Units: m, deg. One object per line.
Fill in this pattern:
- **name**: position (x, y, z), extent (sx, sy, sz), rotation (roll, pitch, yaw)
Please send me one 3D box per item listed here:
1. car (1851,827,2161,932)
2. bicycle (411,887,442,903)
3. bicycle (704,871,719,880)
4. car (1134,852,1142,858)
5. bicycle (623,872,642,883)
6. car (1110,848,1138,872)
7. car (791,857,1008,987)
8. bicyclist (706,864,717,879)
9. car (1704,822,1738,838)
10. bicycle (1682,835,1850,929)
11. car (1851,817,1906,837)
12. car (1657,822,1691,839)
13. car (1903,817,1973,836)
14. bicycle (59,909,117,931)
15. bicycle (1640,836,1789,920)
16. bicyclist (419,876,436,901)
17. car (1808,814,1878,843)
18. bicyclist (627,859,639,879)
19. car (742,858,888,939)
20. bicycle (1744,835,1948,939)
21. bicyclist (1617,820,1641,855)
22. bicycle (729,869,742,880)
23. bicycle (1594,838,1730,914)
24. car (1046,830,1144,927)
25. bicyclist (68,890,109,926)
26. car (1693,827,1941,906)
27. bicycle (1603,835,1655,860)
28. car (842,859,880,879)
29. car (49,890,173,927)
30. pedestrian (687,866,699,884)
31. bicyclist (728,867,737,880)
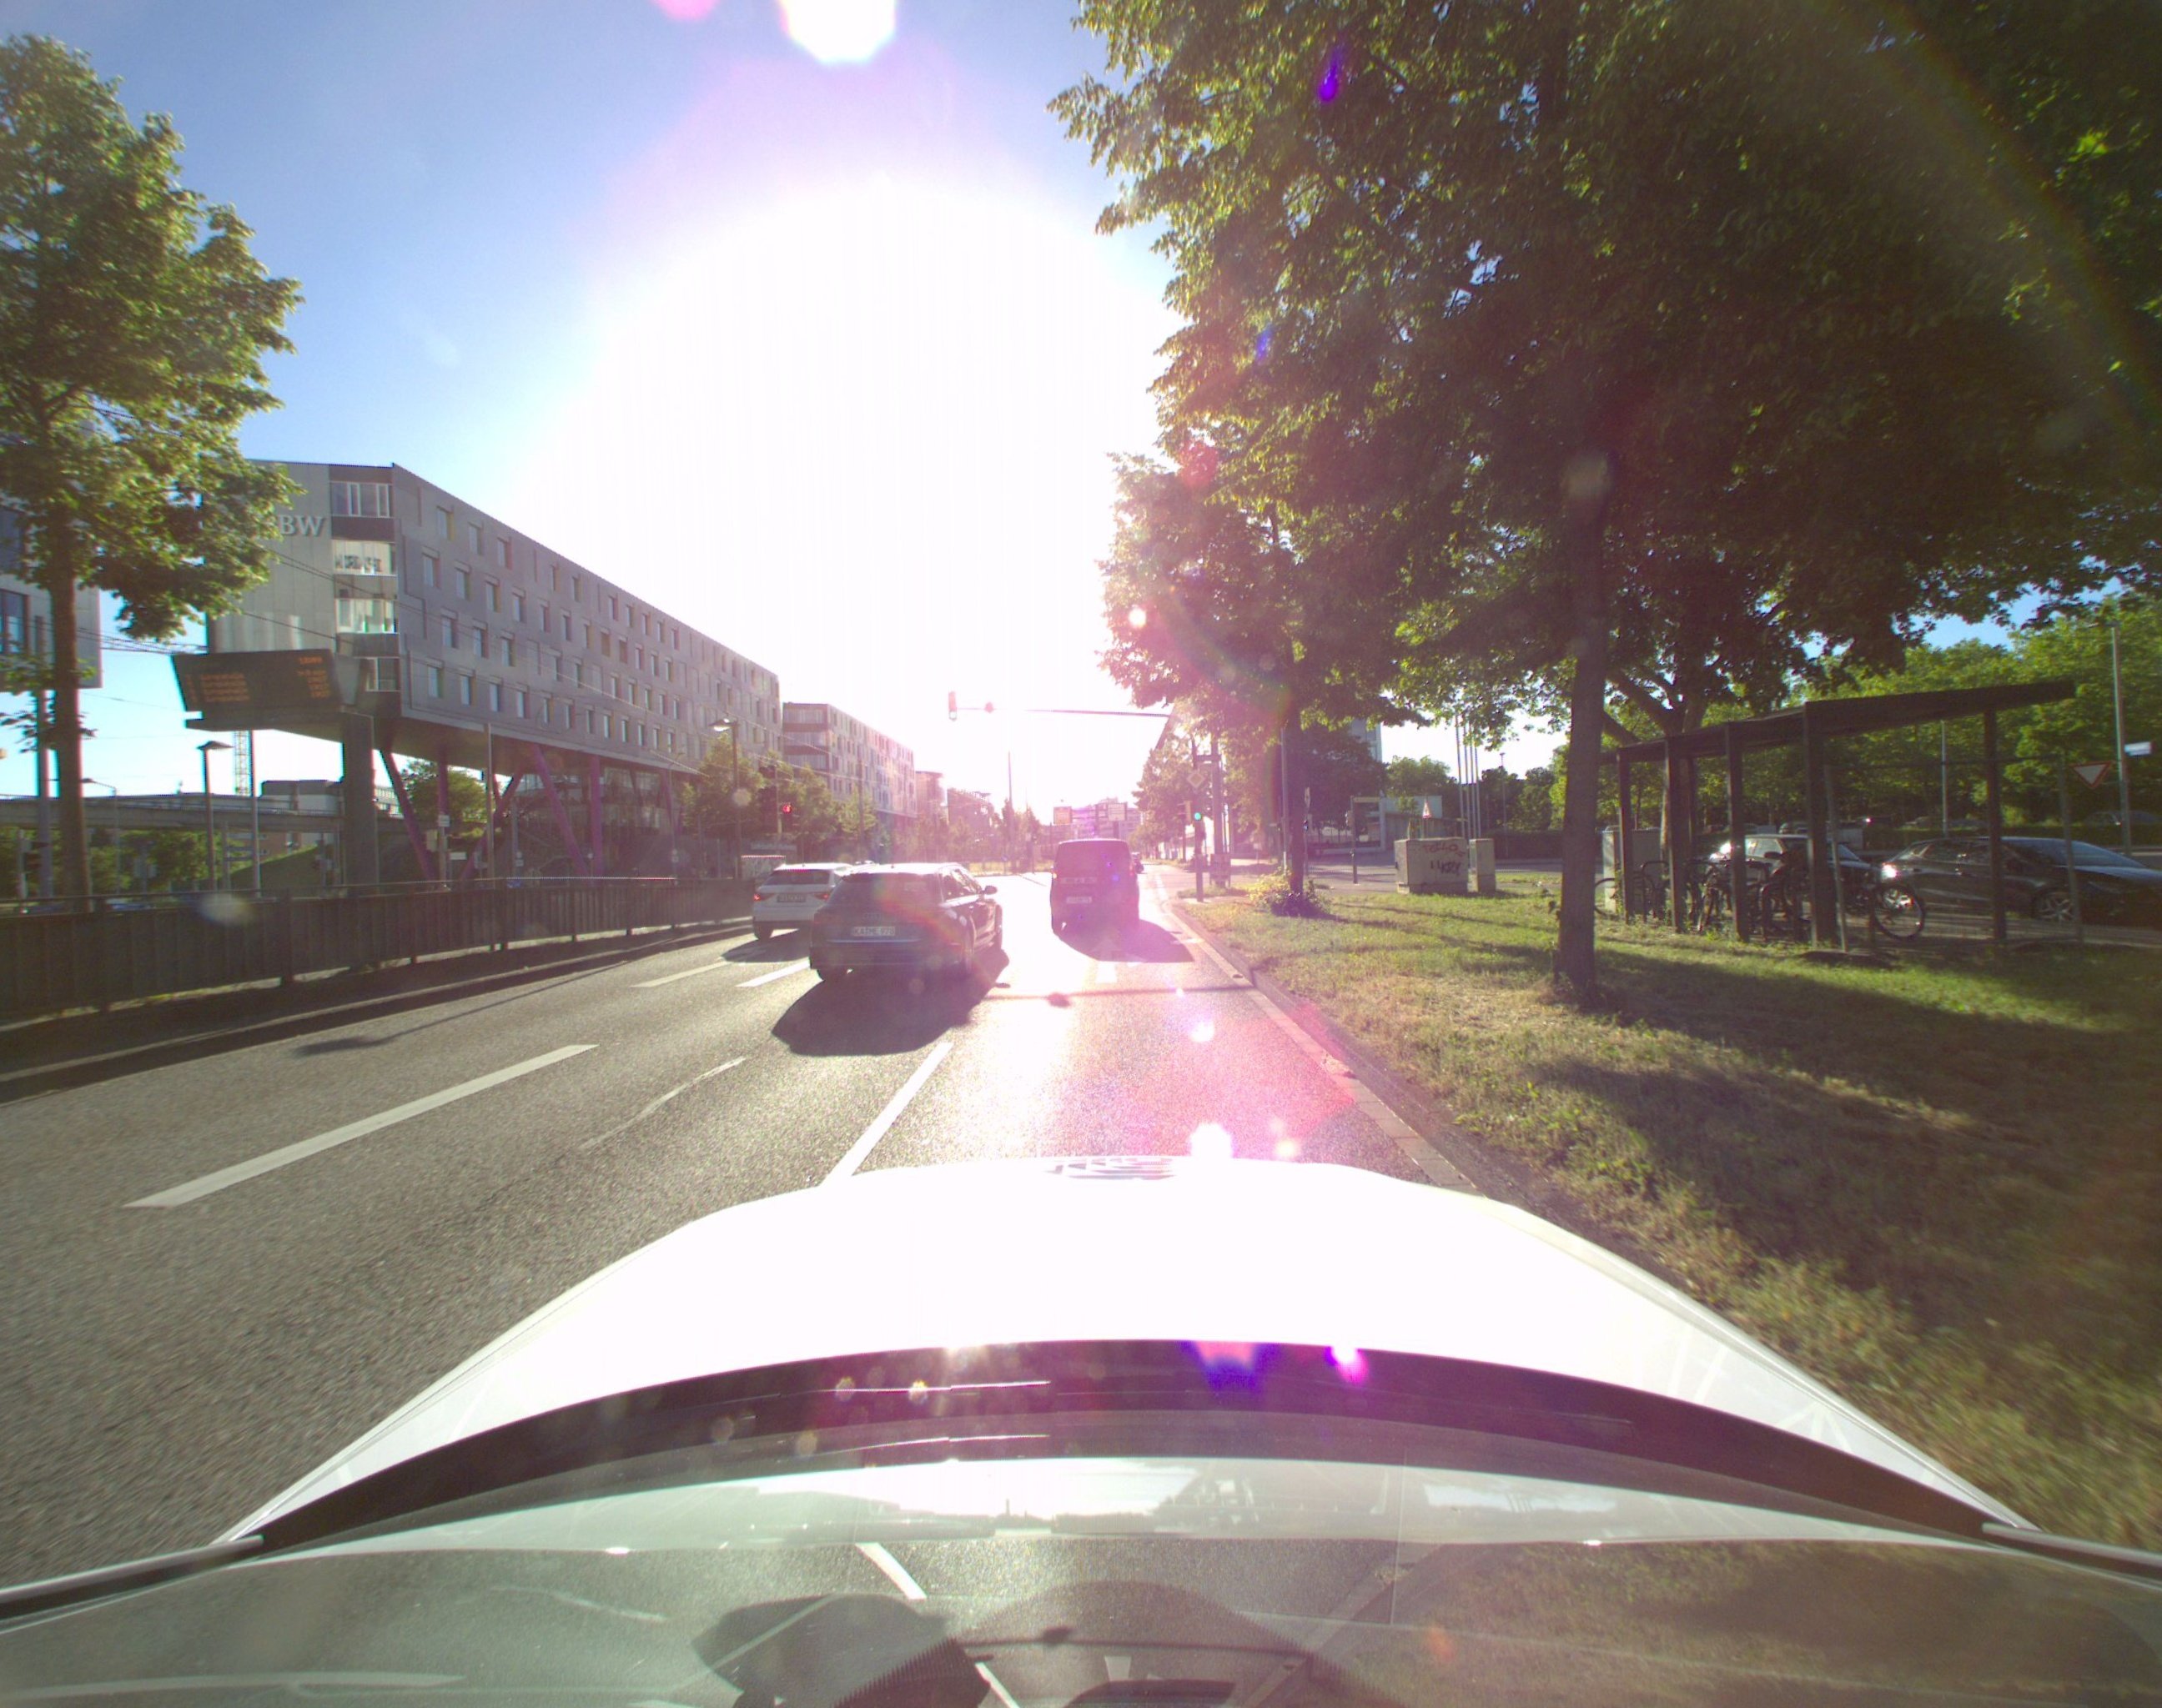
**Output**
- **car**: position (15.233, 0.320, 13.078), extent (1.884, 1.411, 4.353), rotation (-1, 0, 6)
- **bicycle**: position (-39.324, 2.473, 48.948), extent (0.480, 0.863, 1.692), rotation (-2, 0, 1)
- **bicycle**: position (-36.985, 2.175, 81.582), extent (0.573, 0.863, 1.693), rotation (-2, 0, 3)
- **car**: position (14.807, 0.302, 211.776), extent (1.846, 1.481, 4.855), rotation (-4, 0, 1)
- **bicycle**: position (-37.706, 1.977, 68.497), extent (0.525, 0.863, 1.835), rotation (-2, 0, 3)
- **car**: position (2.916, 0.404, 56.056), extent (1.846, 1.546, 4.001), rotation (-1, 0, 1)
- **car**: position (-2.235, 0.766, 11.435), extent (1.805, 1.427, 4.692), rotation (-1, 0, 2)
- **bicyclist**: position (-36.994, 1.760, 81.627), extent (0.568, 1.435, 0.959), rotation (-2, 0, 3)
- **car**: position (64.907, -2.411, 82.635), extent (1.975, 1.465, 4.024), rotation (-1, 1, 27)
- **bicycle**: position (8.992, 0.359, 10.727), extent (1.688, 1.169, 0.552), rotation (-1, 0, 3)
- **car**: position (62.856, -2.087, 64.227), extent (1.975, 1.465, 4.024), rotation (-1, 1, 27)
- **car**: position (55.330, -2.202, 76.065), extent (1.975, 1.465, 4.024), rotation (-1, 1, 27)
- **car**: position (75.314, -2.406, 71.615), extent (3.968, 1.465, 2.003), rotation (-1, 1, 5)
- **bicycle**: position (-45.784, 3.044, 37.545), extent (1.816, 0.863, 0.750), rotation (-2, 0, 3)
- **bicycle**: position (9.251, 0.343, 11.932), extent (1.688, 1.169, 0.552), rotation (-1, 0, 4)
- **bicyclist**: position (-39.337, 2.081, 49.011), extent (0.479, 1.423, 0.553), rotation (-2, 0, 2)
- **car**: position (41.971, -1.400, 44.951), extent (1.974, 1.465, 4.025), rotation (-1, 1, 31)
- **bicyclist**: position (-37.729, 1.258, 68.589), extent (0.527, 1.726, 0.838), rotation (-2, 0, 3)
- **car**: position (-5.301, 0.813, 16.779), extent (1.666, 1.426, 4.005), rotation (-1, 0, 0)
- **bicycle**: position (9.046, 0.384, 9.674), extent (1.794, 1.169, 0.552), rotation (-1, 0, 5)
- **bicyclist**: position (28.022, -0.845, 41.654), extent (0.866, 1.737, 0.837), rotation (-2, 1, 25)
- **bicycle**: position (-39.734, 2.360, 93.700), extent (0.518, 1.172, 1.976), rotation (-2, 0, 2)
- **bicycle**: position (9.298, 0.349, 13.085), extent (1.685, 1.169, 0.553), rotation (-1, 0, 10)
- **car**: position (0.332, 0.468, 17.458), extent (1.841, 1.814, 4.116), rotation (-1, 0, 2)
- **bicyclist**: position (-45.742, 2.468, 37.540), extent (0.949, 1.583, 0.751), rotation (-2, 0, 3)
- **car**: position (15.547, 0.234, 17.550), extent (1.885, 1.465, 4.042), rotation (-1, 0, 5)
- **bicycle**: position (28.016, -0.313, 41.660), extent (2.078, 1.203, 0.554), rotation (-2, 1, 25)
- **car**: position (-19.462, 1.287, 72.312), extent (1.987, 1.562, 4.872), rotation (-2, 0, 1)
- **car**: position (-48.590, 2.699, 40.857), extent (3.968, 1.565, 2.003), rotation (-2, 0, 4)
- **pedestrian**: position (-39.516, 2.111, 82.919), extent (0.718, 1.822, 0.871), rotation (-2, 0, 2)
- **bicyclist**: position (-40.121, 2.212, 93.711), extent (0.556, 1.496, 0.763), rotation (-2, 0, 2)
